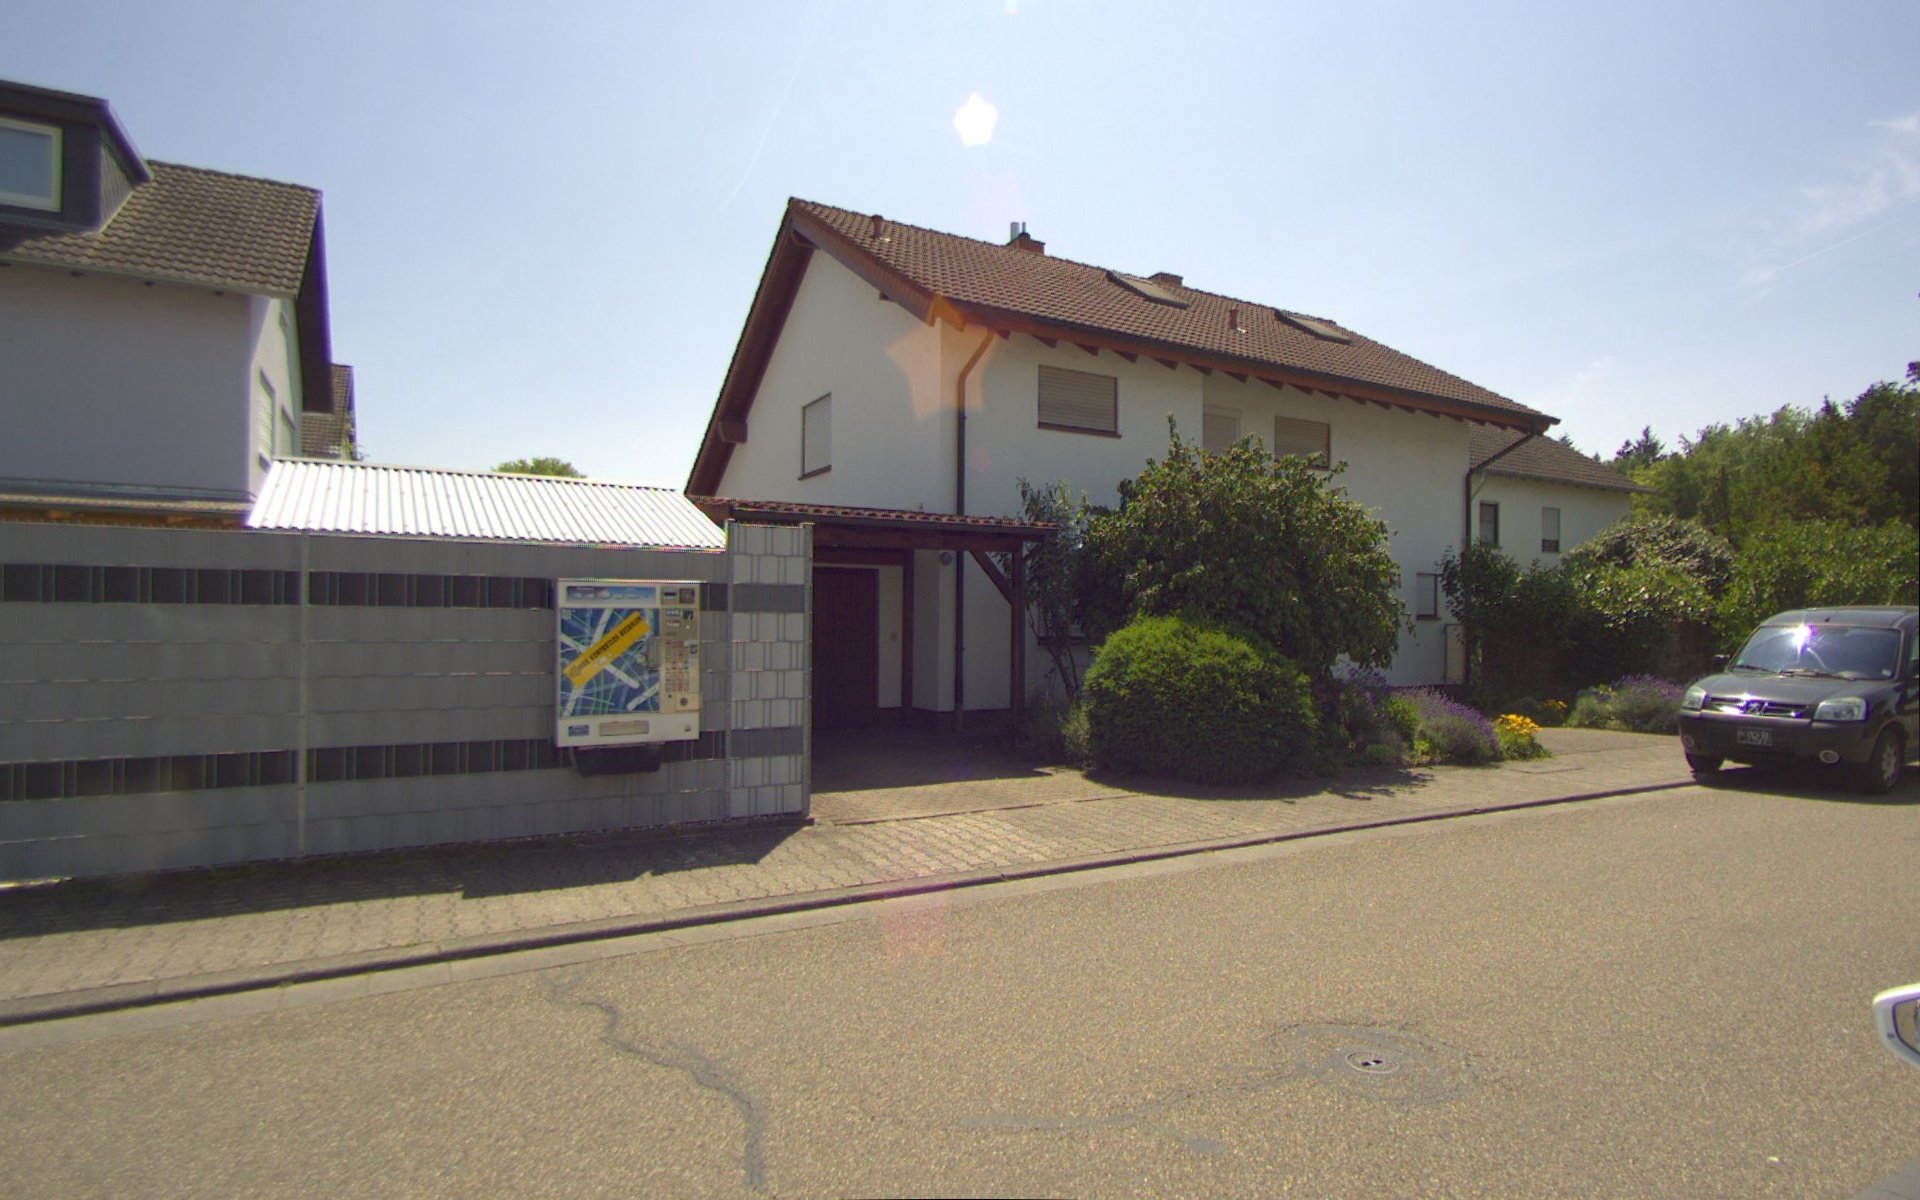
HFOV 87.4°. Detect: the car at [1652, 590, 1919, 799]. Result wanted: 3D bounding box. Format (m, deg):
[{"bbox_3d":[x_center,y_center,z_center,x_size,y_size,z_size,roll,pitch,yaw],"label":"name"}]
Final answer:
[{"bbox_3d":[9.372,0.903,10.782,4.007,1.870,1.710,1,-1,-31],"label":"car"}]
